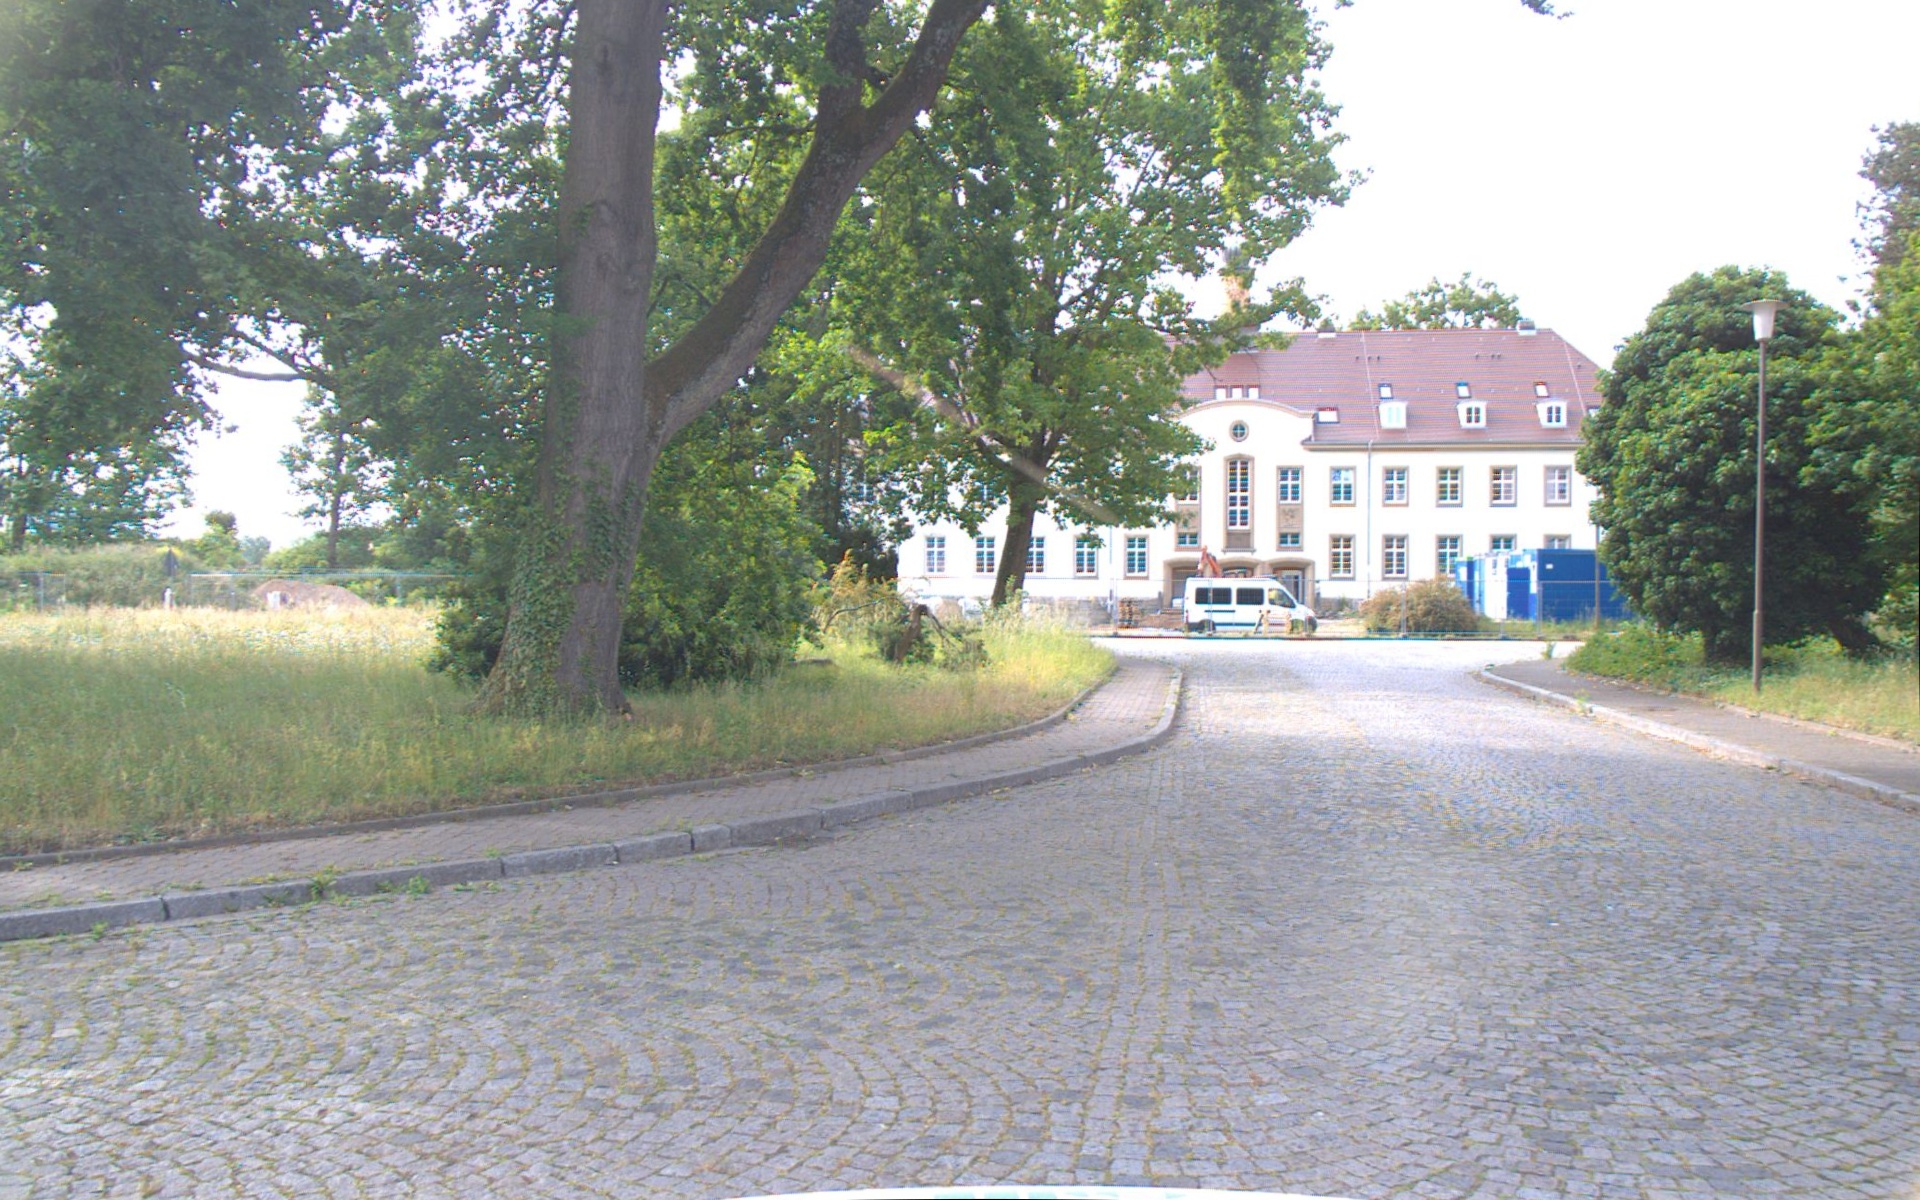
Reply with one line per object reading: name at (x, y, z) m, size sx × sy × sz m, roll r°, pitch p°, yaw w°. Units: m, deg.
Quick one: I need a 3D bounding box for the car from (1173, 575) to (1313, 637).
car at (11.268, 0.217, 66.052) m, size 5.396 × 2.245 × 2.129 m, roll 1°, pitch 3°, yaw 8°
